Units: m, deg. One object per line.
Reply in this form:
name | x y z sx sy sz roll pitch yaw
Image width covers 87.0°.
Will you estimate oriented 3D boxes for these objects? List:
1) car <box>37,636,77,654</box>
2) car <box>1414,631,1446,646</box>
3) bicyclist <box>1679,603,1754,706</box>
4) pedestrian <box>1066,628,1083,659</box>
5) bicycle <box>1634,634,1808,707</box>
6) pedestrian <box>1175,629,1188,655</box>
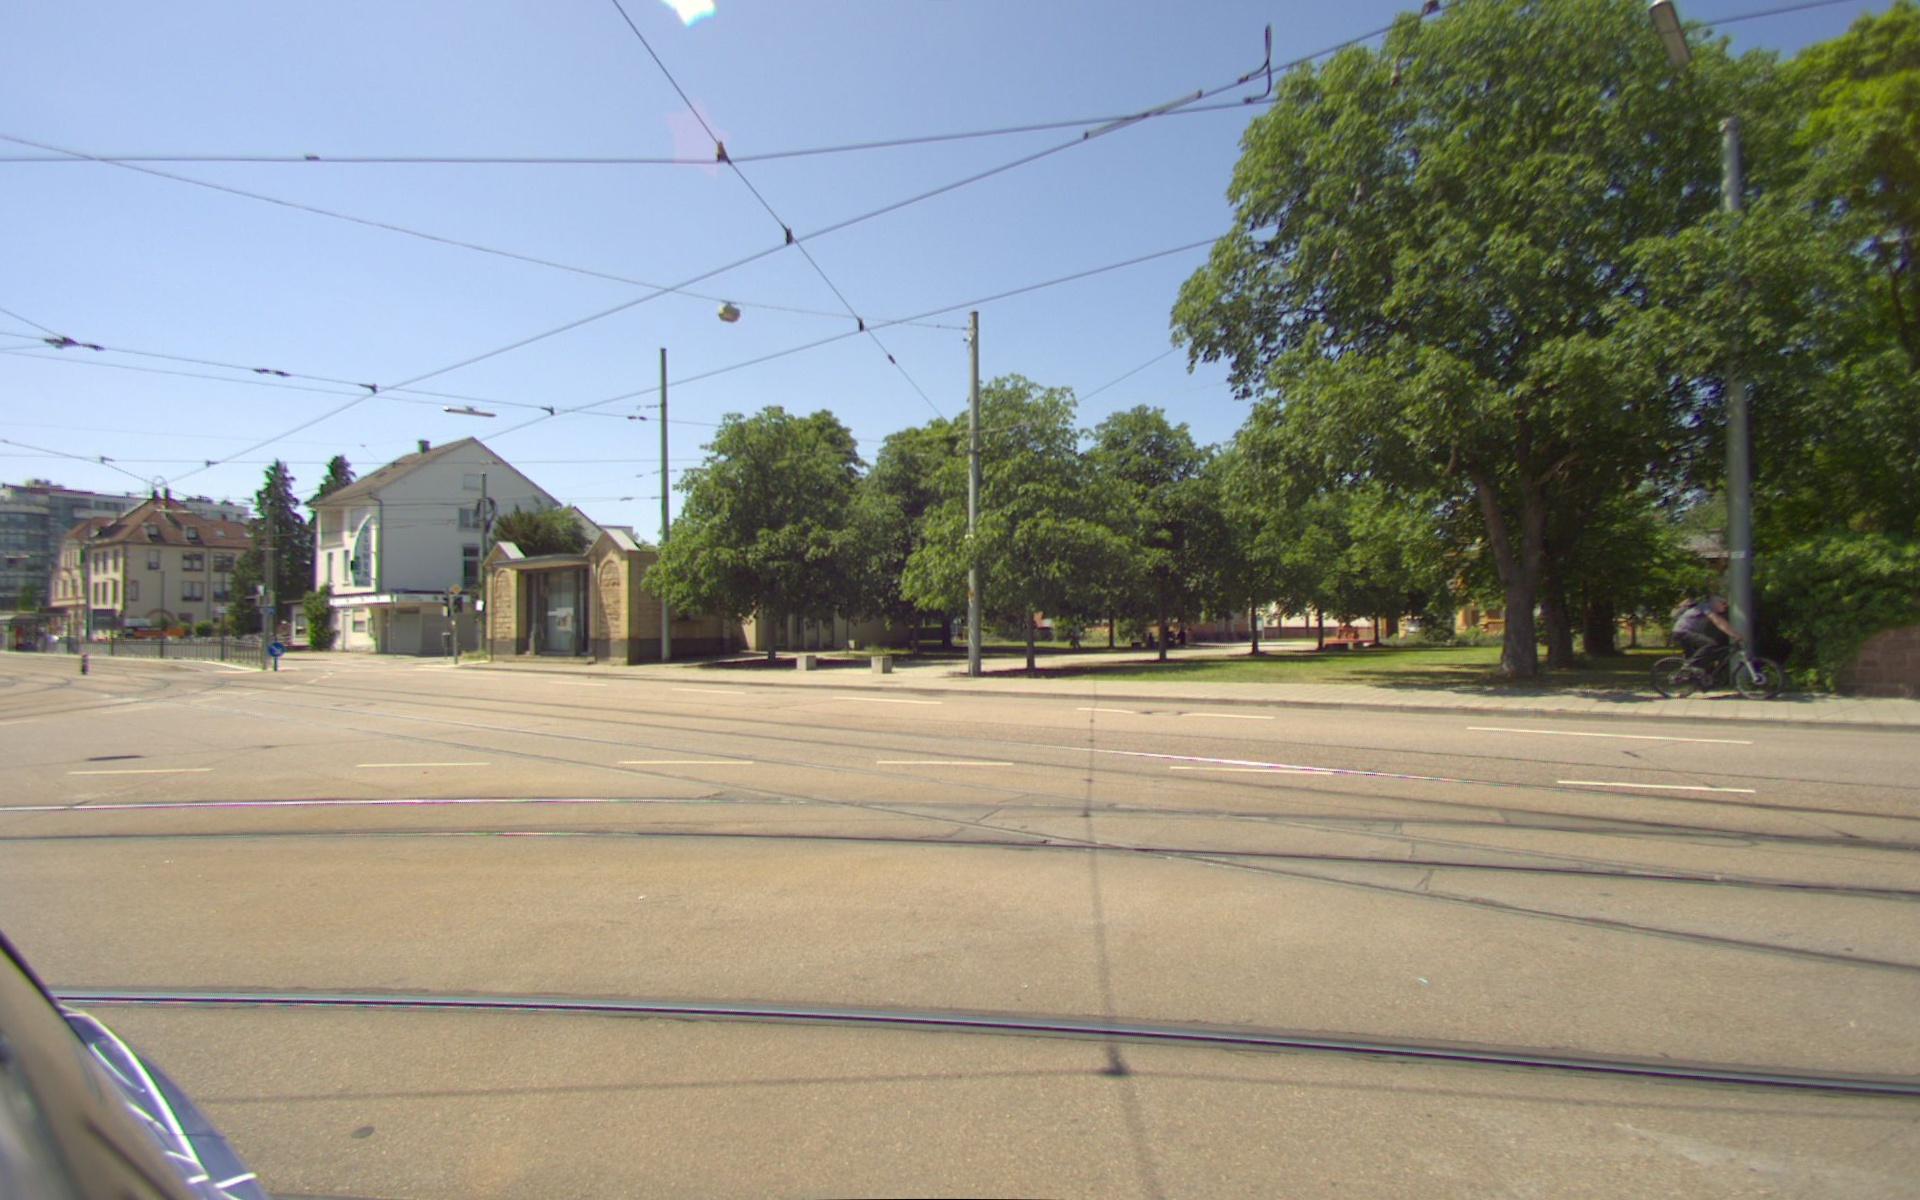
car | -76.057 3.786 85.211 4.493 1.501 1.800 -2 -2 38
car | 32.019 2.631 68.923 1.329 0.959 2.701 -2 -2 38
bicyclist | 11.823 0.840 15.815 0.845 1.542 0.842 -2 -2 40
pedestrian | 6.078 2.308 53.631 0.712 1.660 0.521 -3 -3 40
bicycle | 11.846 1.074 15.801 2.102 1.049 0.707 -2 -2 41
pedestrian | 12.897 2.418 58.832 0.531 1.495 0.521 -2 -2 38
